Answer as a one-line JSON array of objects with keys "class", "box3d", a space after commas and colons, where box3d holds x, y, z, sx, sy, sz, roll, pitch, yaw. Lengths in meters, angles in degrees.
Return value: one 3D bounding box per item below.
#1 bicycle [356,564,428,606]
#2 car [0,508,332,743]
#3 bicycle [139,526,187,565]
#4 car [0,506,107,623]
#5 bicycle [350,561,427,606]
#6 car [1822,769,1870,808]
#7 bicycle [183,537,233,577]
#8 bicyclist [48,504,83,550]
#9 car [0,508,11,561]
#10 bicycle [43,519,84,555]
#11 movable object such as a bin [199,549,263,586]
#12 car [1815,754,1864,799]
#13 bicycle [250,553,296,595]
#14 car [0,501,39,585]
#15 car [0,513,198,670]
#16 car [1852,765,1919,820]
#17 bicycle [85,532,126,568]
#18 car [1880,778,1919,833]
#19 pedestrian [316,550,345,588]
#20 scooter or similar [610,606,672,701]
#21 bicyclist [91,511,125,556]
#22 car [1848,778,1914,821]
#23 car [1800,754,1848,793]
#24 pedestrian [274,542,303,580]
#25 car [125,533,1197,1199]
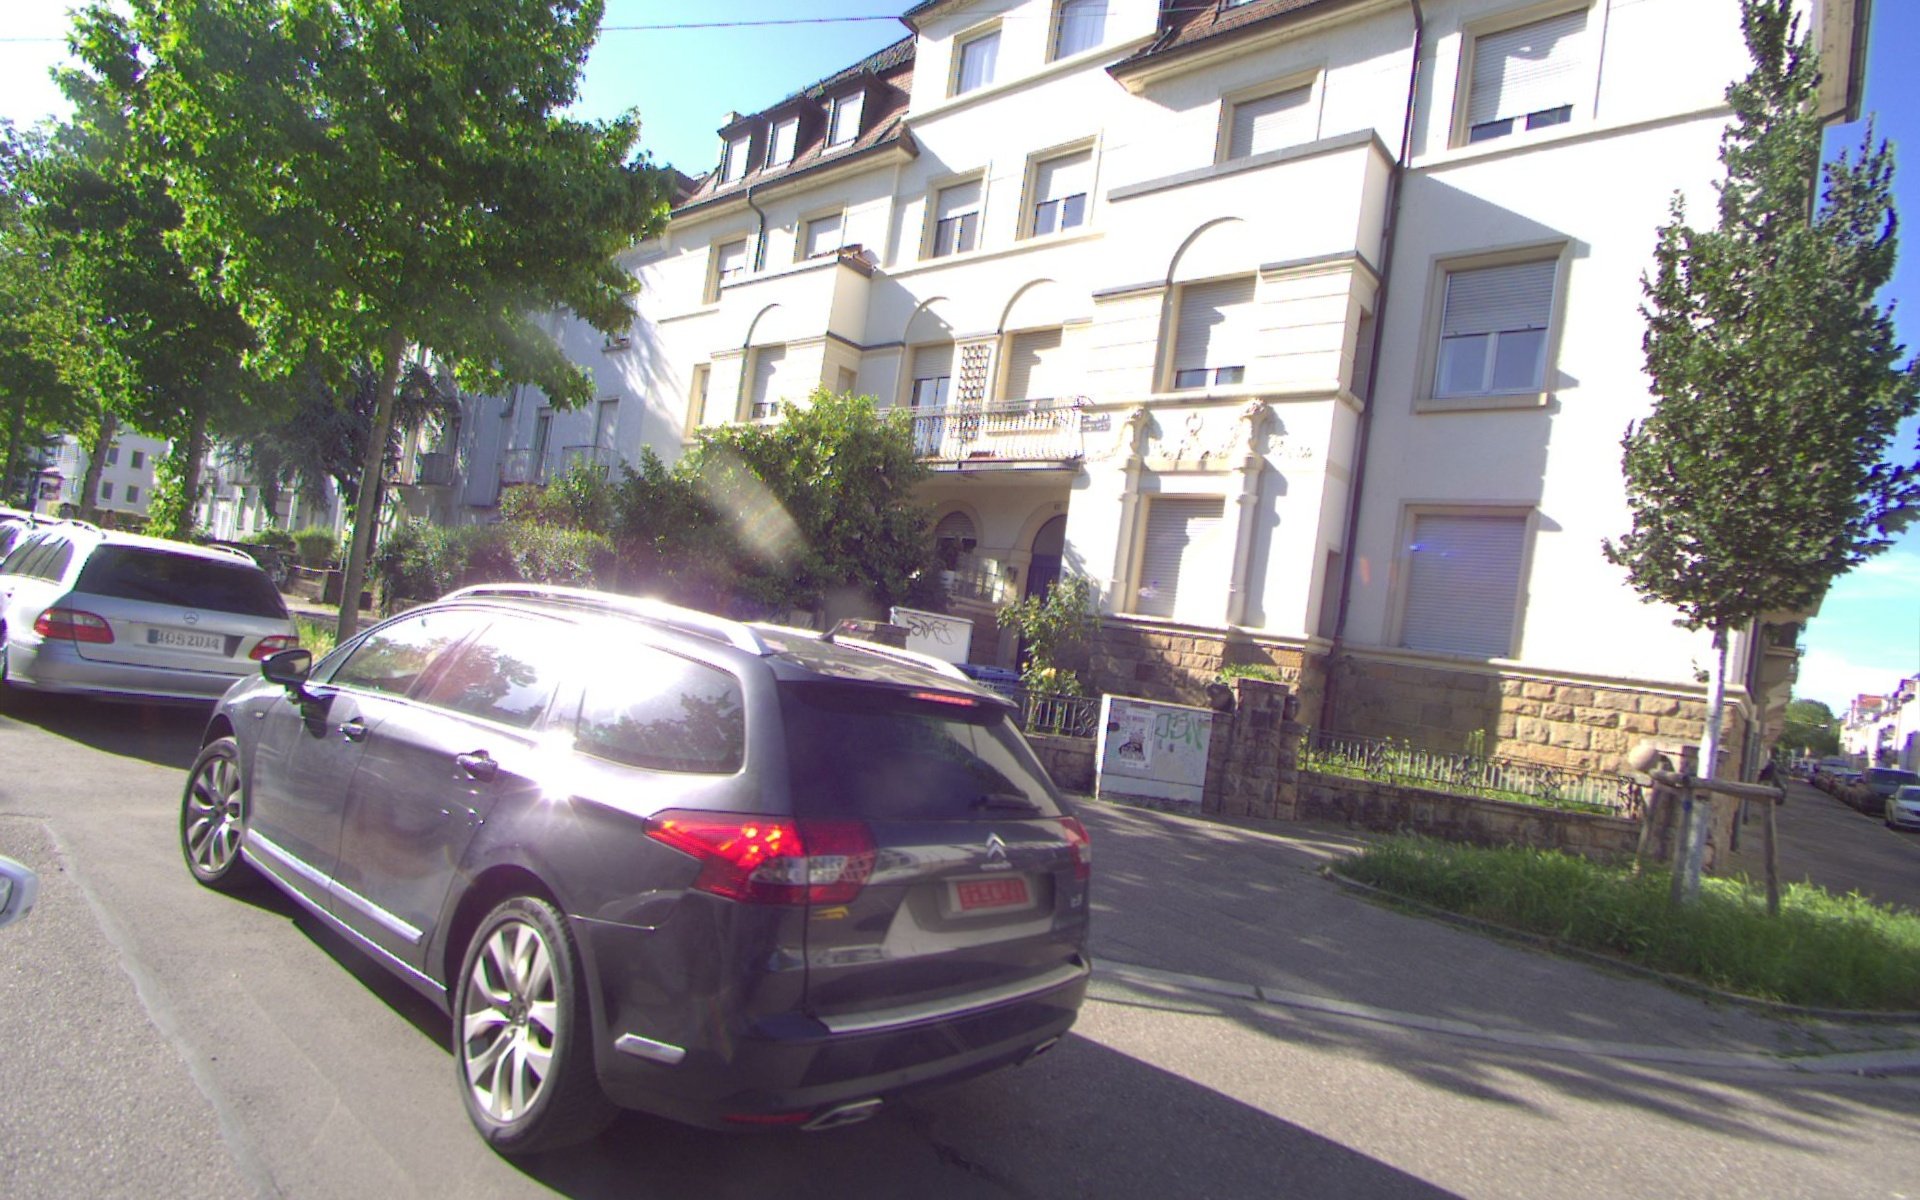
[{"class": "bicycle", "box3d": [-18.777, -0.498, 33.276, 0.575, 1.113, 1.894, 7, -2, 45]}, {"class": "car", "box3d": [-7.689, 0.098, 9.169, 4.840, 1.485, 1.822, 6, -4, 41]}, {"class": "bicycle", "box3d": [-30.759, -2.105, 38.794, 2.198, 1.271, 0.839, 6, -3, 38]}, {"class": "car", "box3d": [-15.432, -0.708, 16.320, 3.913, 1.548, 1.656, 6, -5, 41]}, {"class": "bicycle", "box3d": [-17.635, -0.510, 31.087, 0.575, 1.113, 1.894, 7, -2, 45]}, {"class": "car", "box3d": [58.387, 12.407, 66.361, 1.971, 2.079, 5.150, 6, -4, 40]}, {"class": "bicycle", "box3d": [-25.641, -1.459, 34.283, 1.971, 1.127, 0.804, 6, -3, 39]}, {"class": "bicyclist", "box3d": [-34.184, -2.785, 38.446, 0.908, 1.628, 0.677, 7, -1, 39]}, {"class": "car", "box3d": [-27.752, -1.999, 27.768, 4.401, 1.469, 1.751, 6, -5, 42]}, {"class": "bicycle", "box3d": [-34.362, -2.427, 38.551, 2.368, 1.166, 0.684, 6, -2, 39]}, {"class": "movable object such as a bin", "box3d": [-21.986, -0.971, 30.384, 1.212, 0.915, 1.653, 9, -2, -27]}, {"class": "car", "box3d": [69.931, 14.011, 80.054, 2.539, 3.000, 6.199, 6, -4, 40]}, {"class": "bicycle", "box3d": [-19.285, -0.732, 28.227, 1.878, 0.986, 0.580, 6, -1, 44]}, {"class": "car", "box3d": [-22.395, -1.510, 22.658, 5.027, 1.669, 1.925, 6, -4, 44]}, {"class": "car", "box3d": [-11.269, -0.229, 12.533, 4.793, 1.425, 1.712, 6, -4, 41]}, {"class": "car", "box3d": [37.642, 7.767, 40.625, 2.065, 1.751, 4.802, 6, -4, 39]}, {"class": "bicycle", "box3d": [-33.110, -1.955, 38.952, 2.368, 1.166, 0.684, 6, -2, 39]}, {"class": "car", "box3d": [31.038, 6.668, 32.178, 1.971, 1.569, 4.422, 6, -4, 39]}, {"class": "pedestrian", "box3d": [-21.513, -1.062, 34.395, 0.745, 1.155, 0.509, 6, -2, 40]}, {"class": "scooter or similar", "box3d": [-4.578, 0.745, 14.398, 0.399, 1.199, 1.195, 8, -1, -33]}, {"class": "bicyclist", "box3d": [-32.887, -2.572, 38.845, 1.007, 1.571, 0.676, 7, -1, 39]}, {"class": "car", "box3d": [41.242, 8.918, 45.104, 1.973, 1.491, 3.985, 6, -4, 43]}, {"class": "car", "box3d": [79.669, 15.948, 92.823, 2.536, 3.000, 6.206, 7, -3, 36]}, {"class": "pedestrian", "box3d": [-22.124, -1.294, 33.153, 0.746, 1.155, 0.509, 6, -3, 44]}, {"class": "car", "box3d": [-1.730, 0.714, 4.297, 4.897, 1.541, 1.896, 5, -4, 41]}]
